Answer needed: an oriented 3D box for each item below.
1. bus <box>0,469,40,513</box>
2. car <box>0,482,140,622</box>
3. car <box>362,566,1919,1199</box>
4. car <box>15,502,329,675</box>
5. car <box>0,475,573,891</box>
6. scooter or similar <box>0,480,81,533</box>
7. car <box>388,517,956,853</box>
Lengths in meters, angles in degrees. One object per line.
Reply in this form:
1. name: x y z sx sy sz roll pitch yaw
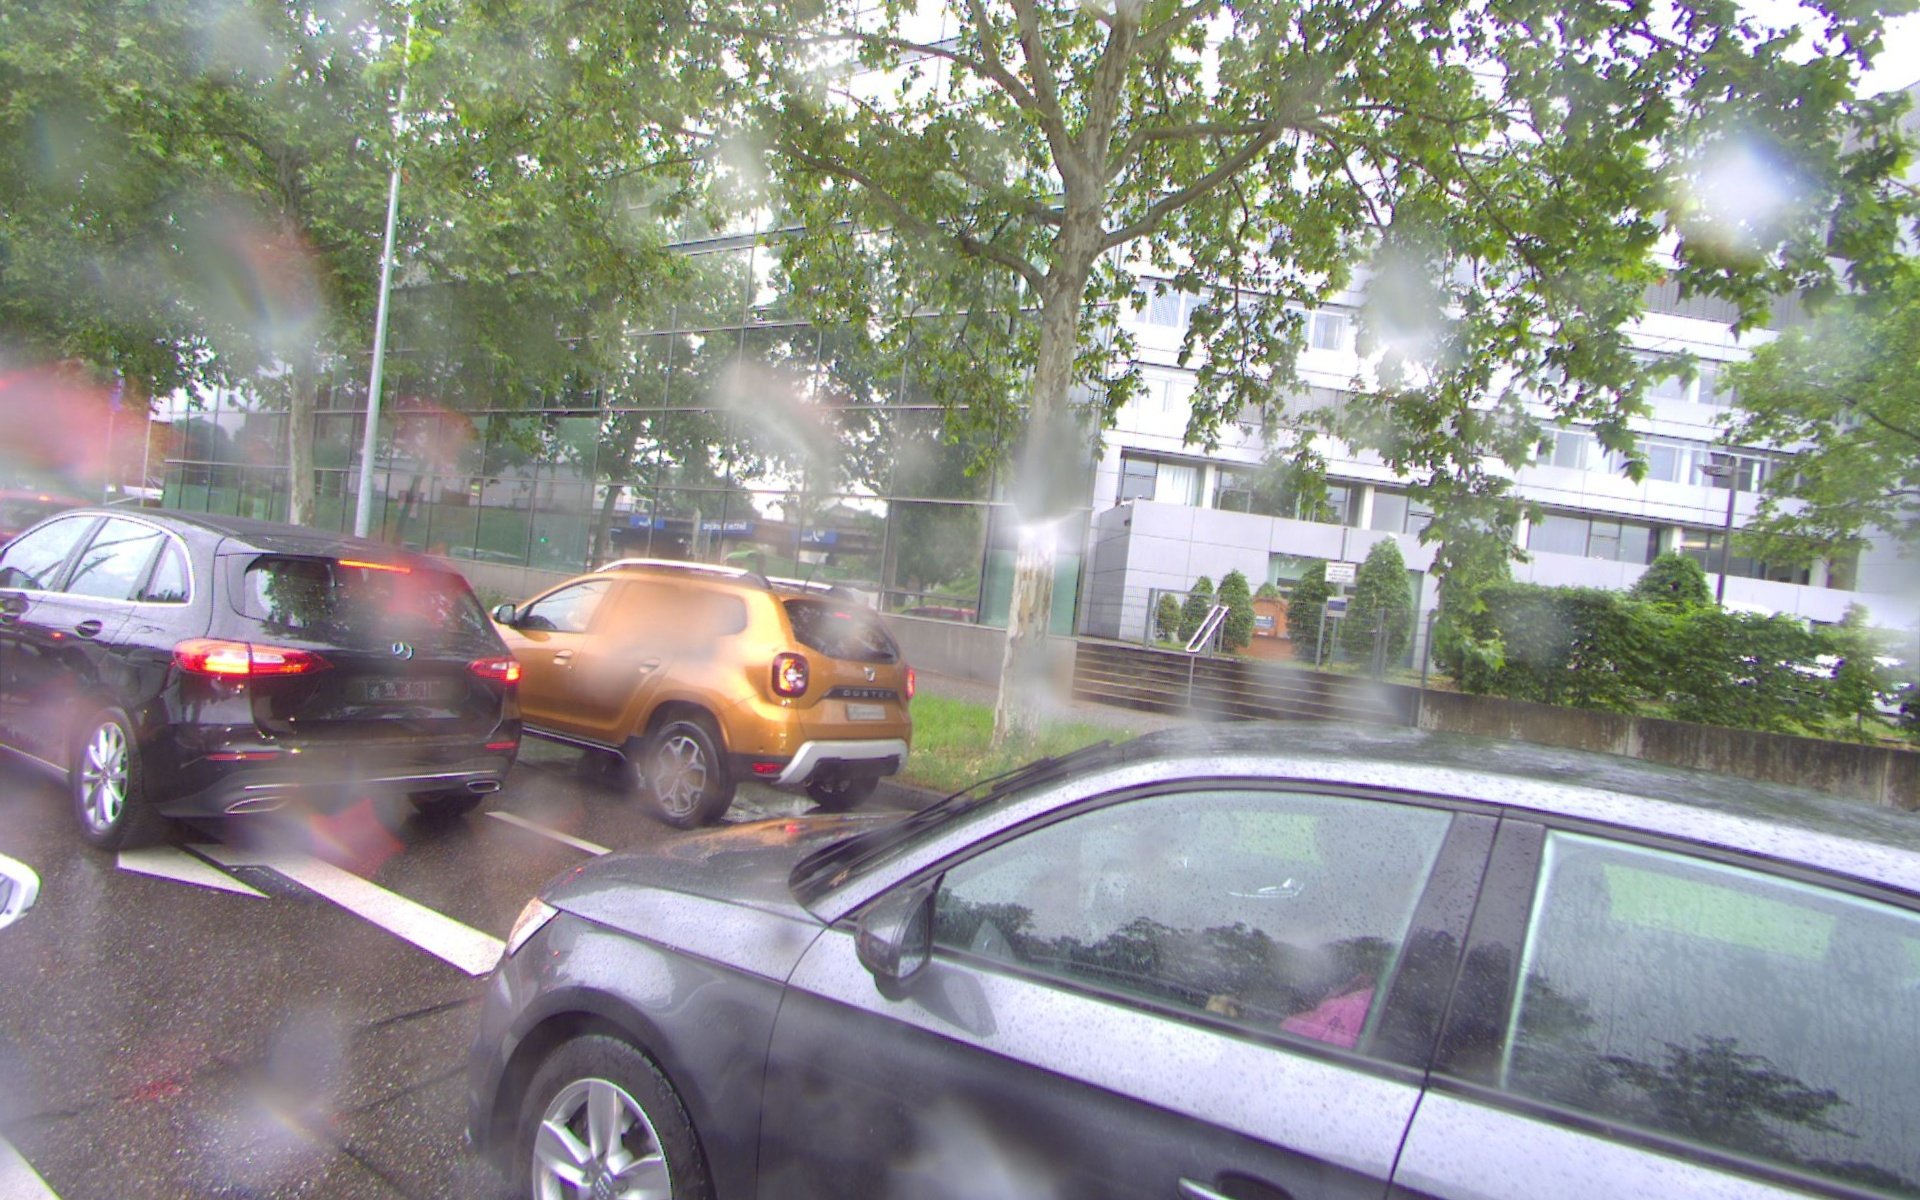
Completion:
1. bus: -84.415 -9.766 83.819 2.436 3.465 12.015 7 0 12
2. car: -14.076 -0.809 14.792 4.201 1.714 1.714 6 -2 32
3. car: 0.687 0.899 2.095 3.718 1.445 1.679 7 -1 31
4. car: -8.890 -0.147 11.319 3.332 1.480 1.572 7 -1 31
5. car: -4.347 0.244 5.755 4.022 1.573 1.751 7 -1 31
6. scooter or similar: -54.533 -5.524 58.140 5.228 2.476 1.893 7 0 -9
7. car: -2.293 0.502 7.667 4.079 1.704 1.679 8 -2 32
